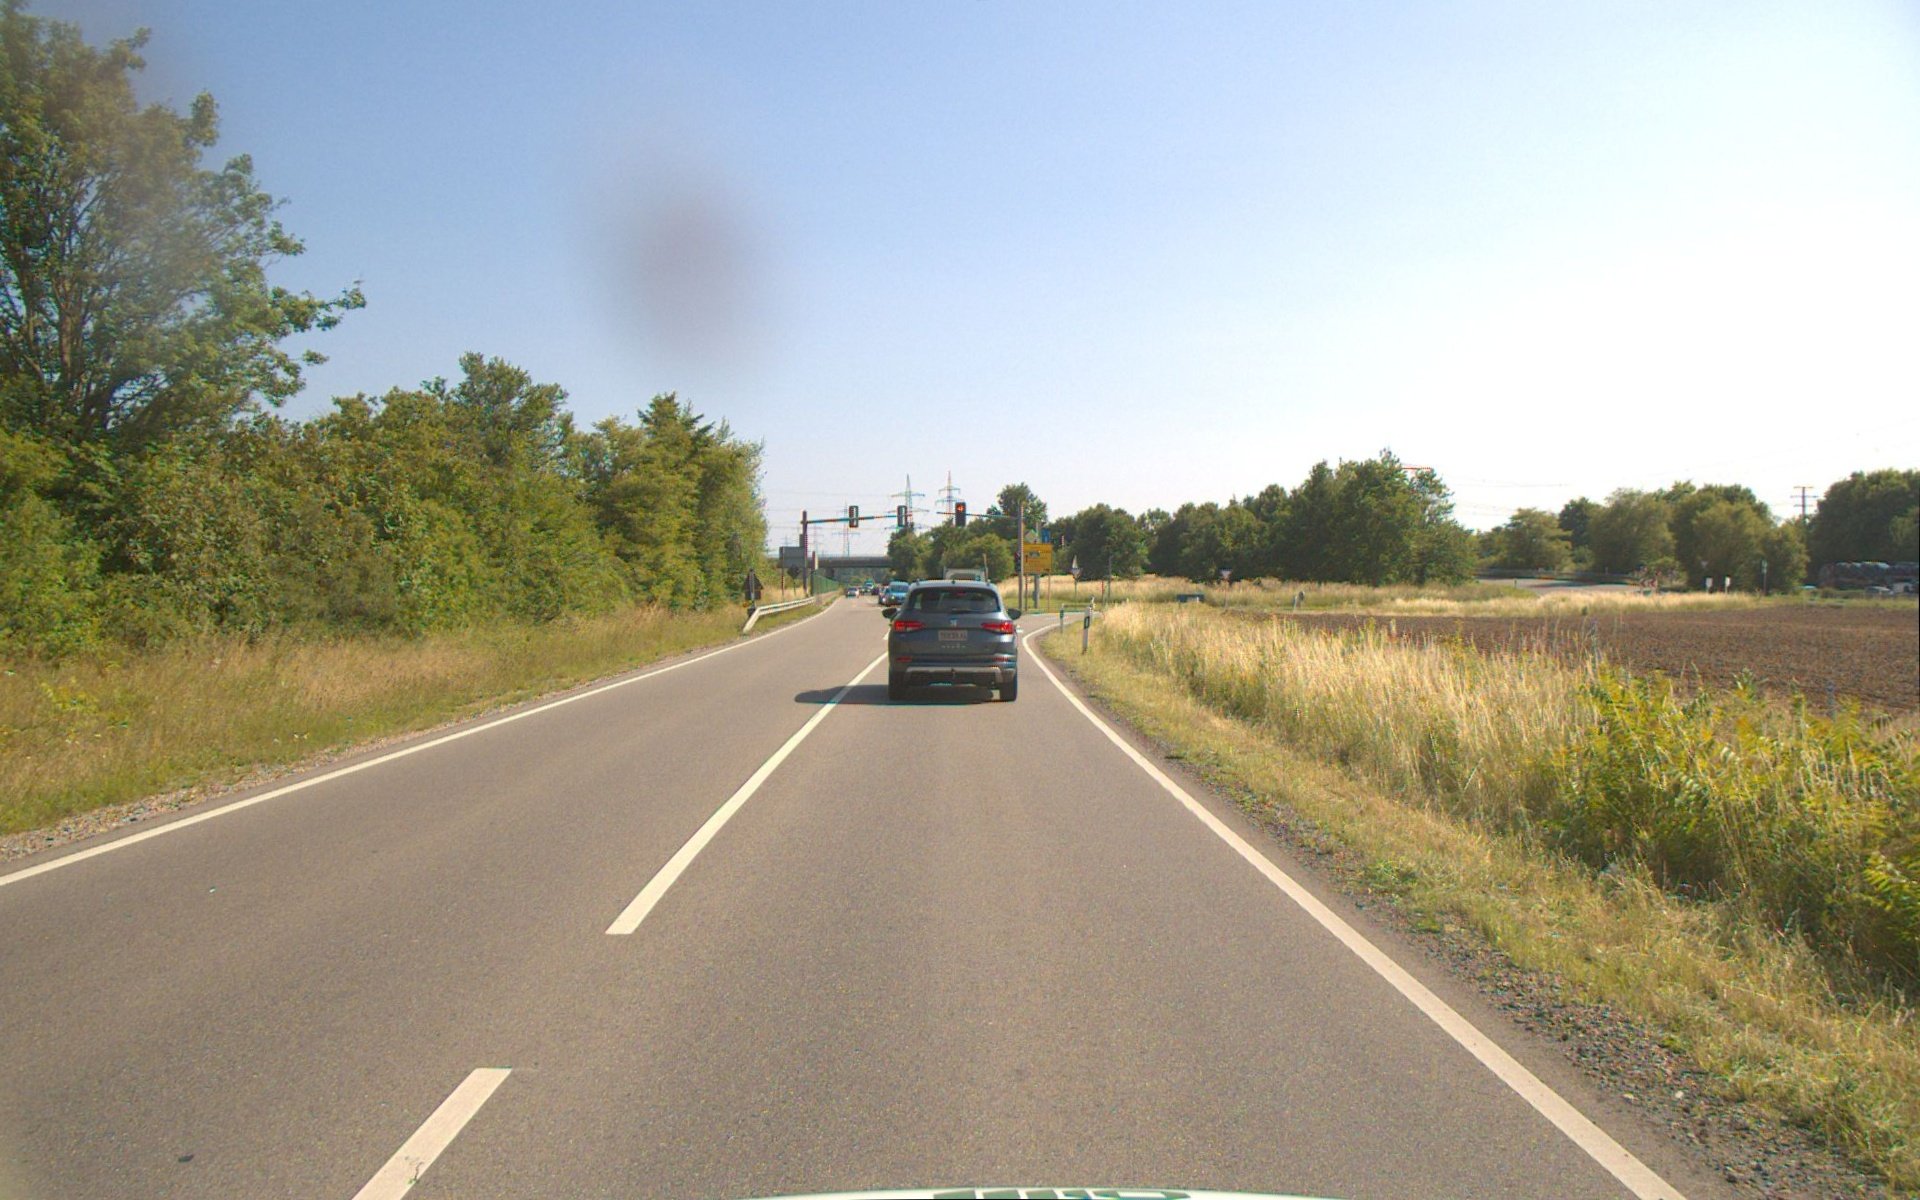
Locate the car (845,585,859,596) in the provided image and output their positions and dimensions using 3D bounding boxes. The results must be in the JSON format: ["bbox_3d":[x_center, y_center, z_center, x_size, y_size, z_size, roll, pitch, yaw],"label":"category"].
[{"bbox_3d":[-14.411,-1.298,219.885,1.788,1.456,3.996,0,1,-5],"label":"car"}]

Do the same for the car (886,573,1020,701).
[{"bbox_3d":[-0.128,0.455,23.503,1.749,1.657,3.999,0,1,-1],"label":"car"}]

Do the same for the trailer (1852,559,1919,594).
[{"bbox_3d":[94.193,-2.378,164.496,3.218,3.324,13.449,0,1,-2],"label":"trailer"}]

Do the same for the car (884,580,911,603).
[{"bbox_3d":[-4.521,-0.623,119.884,1.780,1.567,3.996,0,1,-5],"label":"car"}]

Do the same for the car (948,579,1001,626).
[{"bbox_3d":[0.481,0.064,58.122,1.749,1.570,3.999,0,1,-1],"label":"car"}]

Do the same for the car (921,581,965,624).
[{"bbox_3d":[-0.723,0.085,67.846,1.749,1.705,3.999,0,1,-1],"label":"car"}]

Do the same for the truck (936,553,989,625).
[{"bbox_3d":[0.104,-0.482,75.511,2.289,3.119,5.809,1,0,0],"label":"truck"}]

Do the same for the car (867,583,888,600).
[{"bbox_3d":[-6.990,-0.707,139.835,1.651,1.404,3.530,0,1,-4],"label":"car"}]

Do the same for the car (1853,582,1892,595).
[{"bbox_3d":[87.524,-1.111,158.710,1.633,1.167,3.731,1,0,-1],"label":"car"}]
